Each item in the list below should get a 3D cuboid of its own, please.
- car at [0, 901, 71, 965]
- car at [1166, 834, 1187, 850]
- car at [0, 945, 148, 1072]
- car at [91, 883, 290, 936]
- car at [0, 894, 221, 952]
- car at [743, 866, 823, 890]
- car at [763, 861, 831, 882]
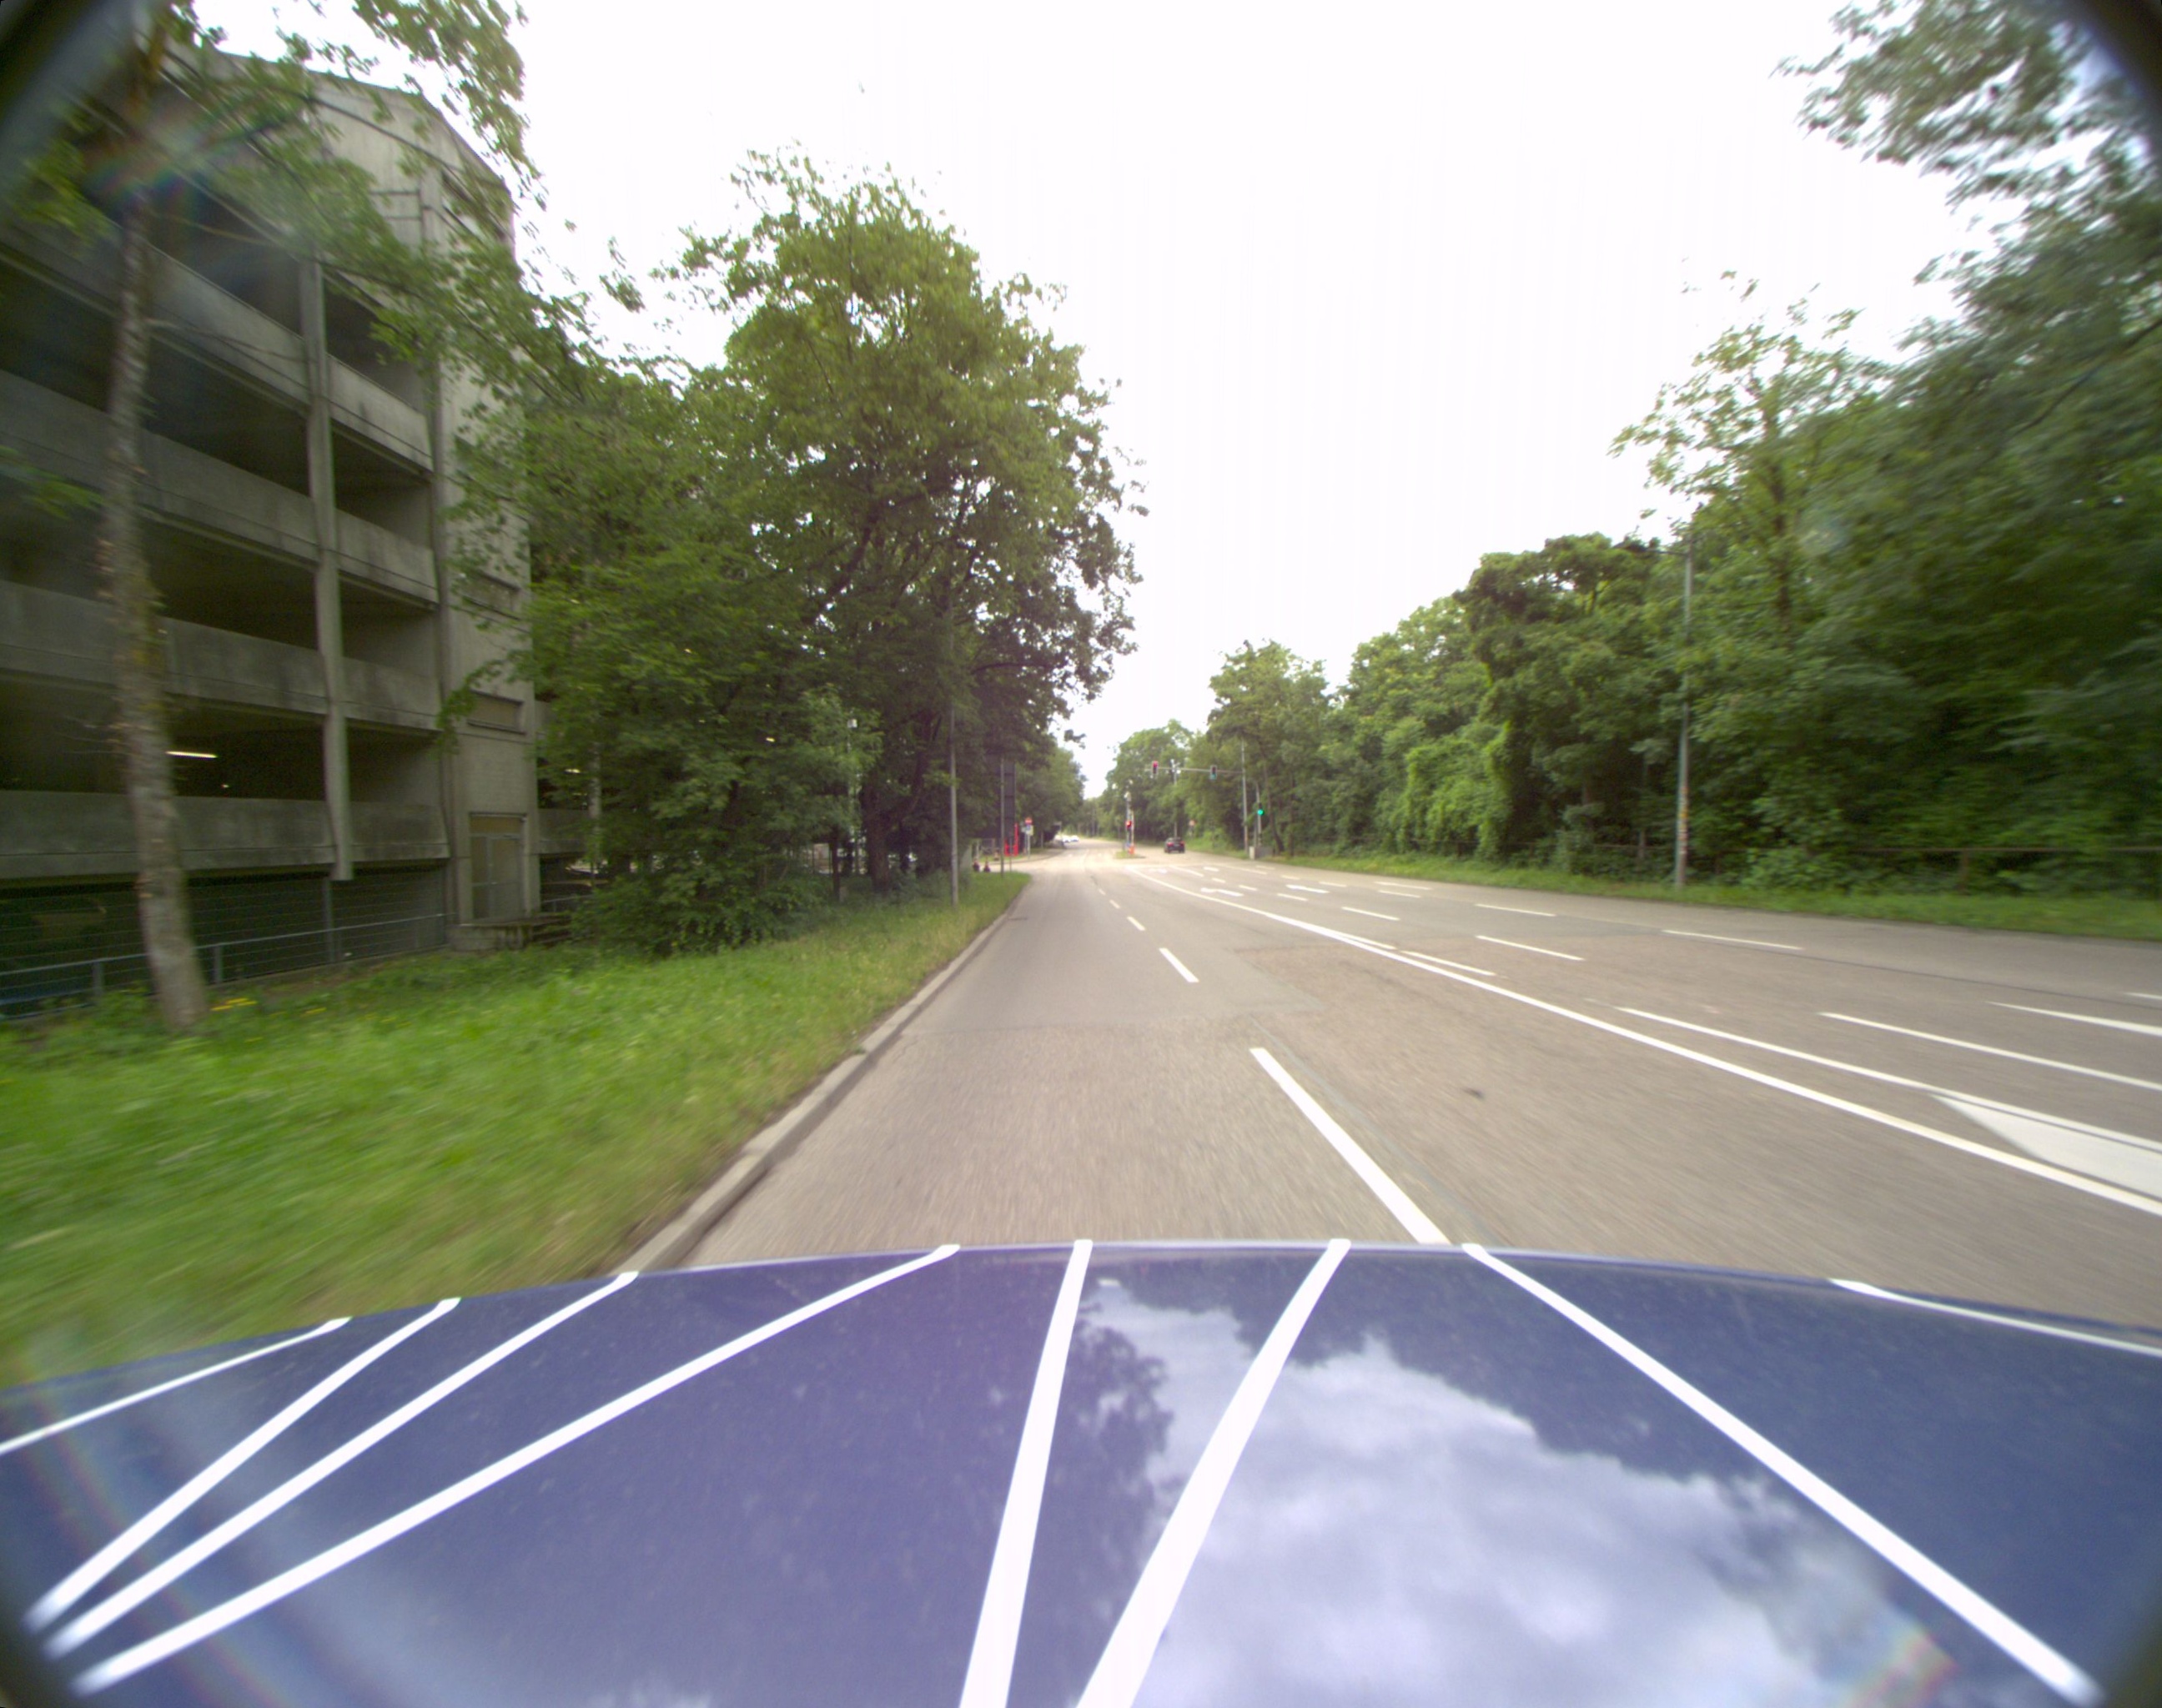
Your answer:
[{"bbox_3d":[-27.817,1.948,18.442,4.070,1.443,1.825,-1,1,-1],"label":"car"},{"bbox_3d":[10.385,-1.319,82.695,1.826,1.644,4.221,-2,1,2],"label":"car"},{"bbox_3d":[-16.891,2.223,11.155,3.997,1.524,1.863,0,1,-1],"label":"car"},{"bbox_3d":[-28.112,1.729,24.092,4.070,1.479,1.825,-1,1,-1],"label":"car"},{"bbox_3d":[-27.161,1.893,21.233,4.070,1.408,1.825,-1,1,-1],"label":"car"},{"bbox_3d":[-16.037,1.283,40.950,3.637,1.155,1.622,-1,2,2],"label":"car"},{"bbox_3d":[-16.152,0.977,43.262,3.252,1.081,1.538,-1,2,1],"label":"car"}]
